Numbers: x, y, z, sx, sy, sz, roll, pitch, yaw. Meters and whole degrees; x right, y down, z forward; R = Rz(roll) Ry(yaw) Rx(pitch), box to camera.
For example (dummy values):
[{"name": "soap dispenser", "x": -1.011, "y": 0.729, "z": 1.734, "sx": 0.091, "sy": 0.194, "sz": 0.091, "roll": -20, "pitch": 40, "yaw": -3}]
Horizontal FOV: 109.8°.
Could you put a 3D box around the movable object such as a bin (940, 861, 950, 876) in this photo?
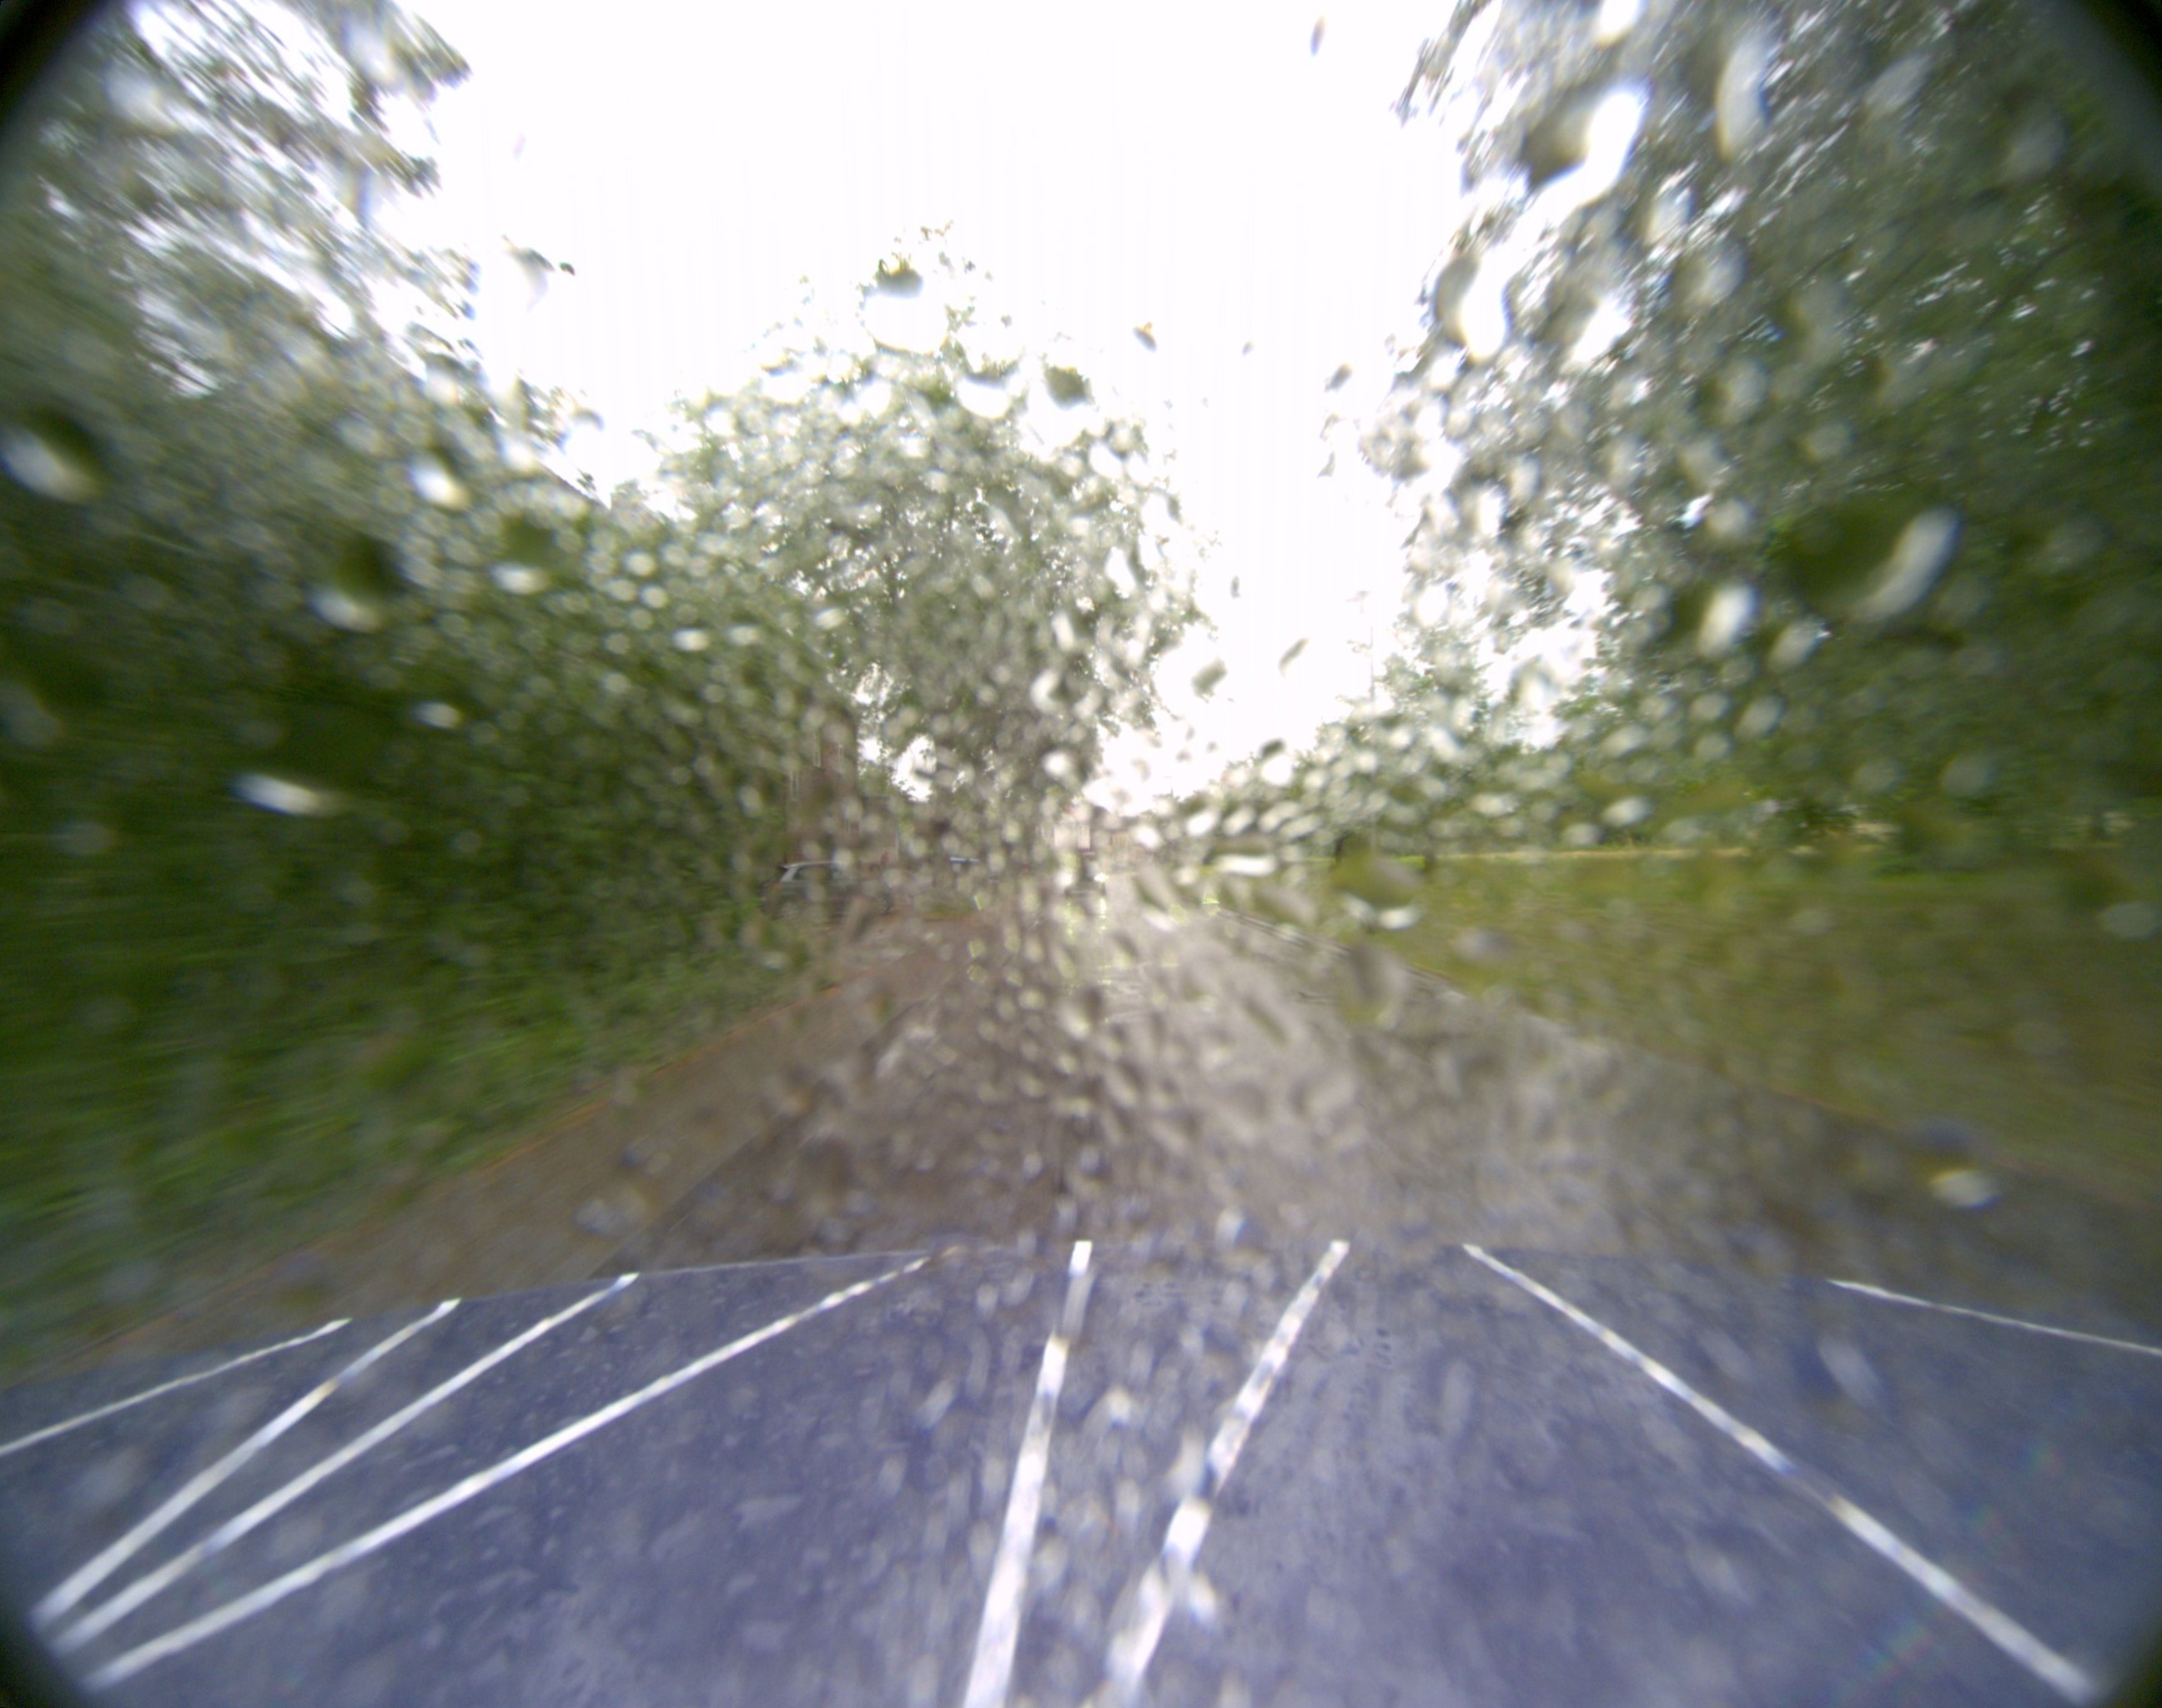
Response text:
[{"name": "movable object such as a bin", "x": -9.844, "y": 1.034, "z": 55.091, "sx": 0.568, "sy": 1.073, "sz": 0.530, "roll": 3, "pitch": 0, "yaw": -1}]

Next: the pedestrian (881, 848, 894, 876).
[{"name": "pedestrian", "x": -12.096, "y": 0.496, "z": 47.588, "sx": 0.536, "sy": 1.743, "sz": 0.867, "roll": 1, "pitch": -1, "yaw": 0}]

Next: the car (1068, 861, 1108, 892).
[{"name": "car", "x": 0.263, "y": 1.020, "z": 34.570, "sx": 1.667, "sy": 1.290, "sz": 3.518, "roll": -2, "pitch": -1, "yaw": -2}]

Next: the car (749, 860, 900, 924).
[{"name": "car", "x": -7.027, "y": 0.978, "z": 20.955, "sx": 3.620, "sy": 1.542, "sz": 1.617, "roll": -1, "pitch": 1, "yaw": -38}]

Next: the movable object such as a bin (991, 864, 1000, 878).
[{"name": "movable object such as a bin", "x": -6.234, "y": 1.221, "z": 55.200, "sx": 0.538, "sy": 1.017, "sz": 0.463, "roll": 3, "pitch": 0, "yaw": -1}]

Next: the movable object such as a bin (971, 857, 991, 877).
[{"name": "movable object such as a bin", "x": -7.243, "y": 0.938, "z": 55.041, "sx": 1.296, "sy": 1.410, "sz": 0.795, "roll": 3, "pitch": 0, "yaw": -1}]

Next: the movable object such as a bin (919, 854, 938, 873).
[{"name": "movable object such as a bin", "x": -11.029, "y": 0.675, "z": 55.029, "sx": 1.151, "sy": 1.335, "sz": 0.795, "roll": 4, "pitch": 0, "yaw": 0}]

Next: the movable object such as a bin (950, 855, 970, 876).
[{"name": "movable object such as a bin", "x": -8.760, "y": 0.842, "z": 55.127, "sx": 1.238, "sy": 1.428, "sz": 0.795, "roll": 4, "pitch": 0, "yaw": -1}]
